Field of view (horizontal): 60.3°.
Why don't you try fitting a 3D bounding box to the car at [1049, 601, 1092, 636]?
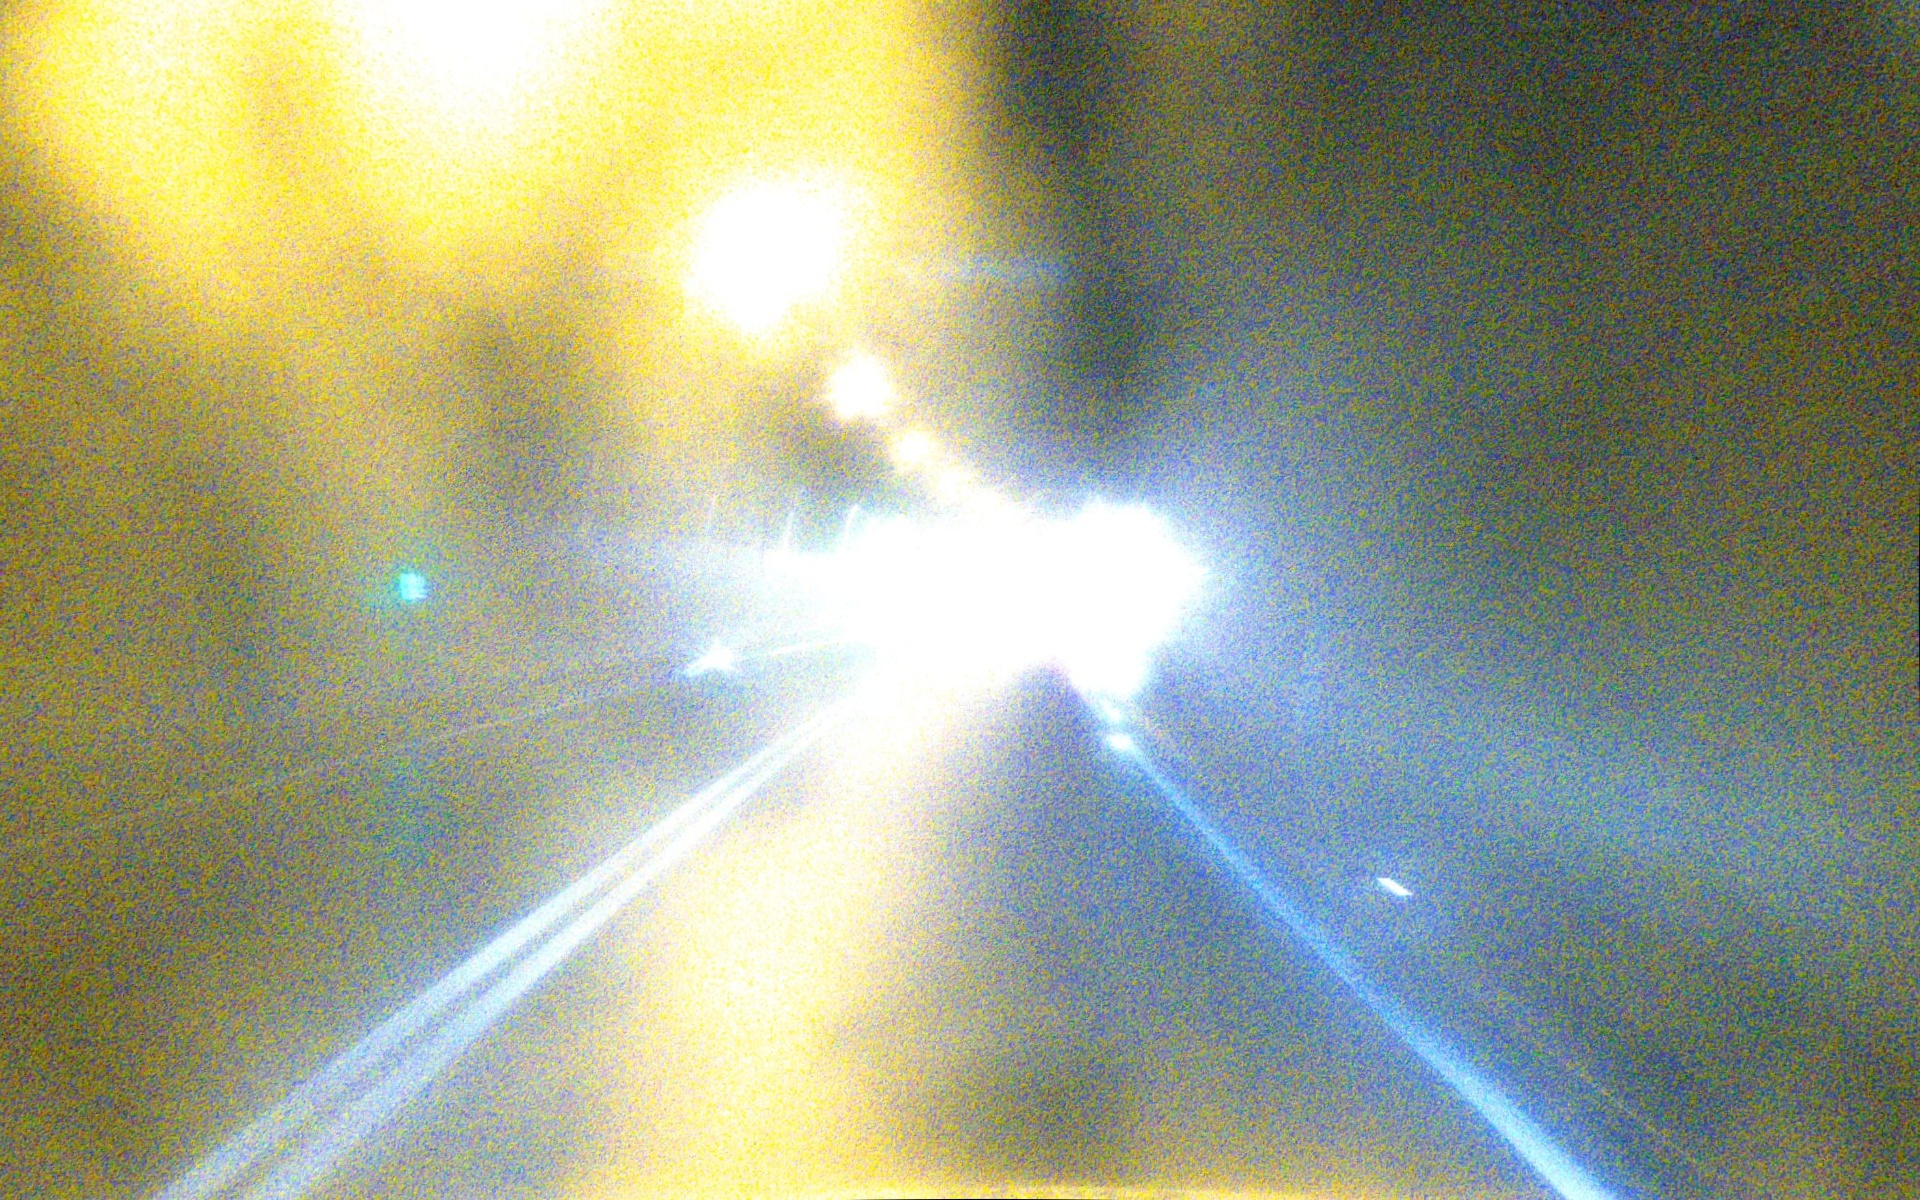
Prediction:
[{"bbox_3d":[5.591,0.907,83.384,1.951,1.679,4.003,1,0,7],"label":"car"}]
